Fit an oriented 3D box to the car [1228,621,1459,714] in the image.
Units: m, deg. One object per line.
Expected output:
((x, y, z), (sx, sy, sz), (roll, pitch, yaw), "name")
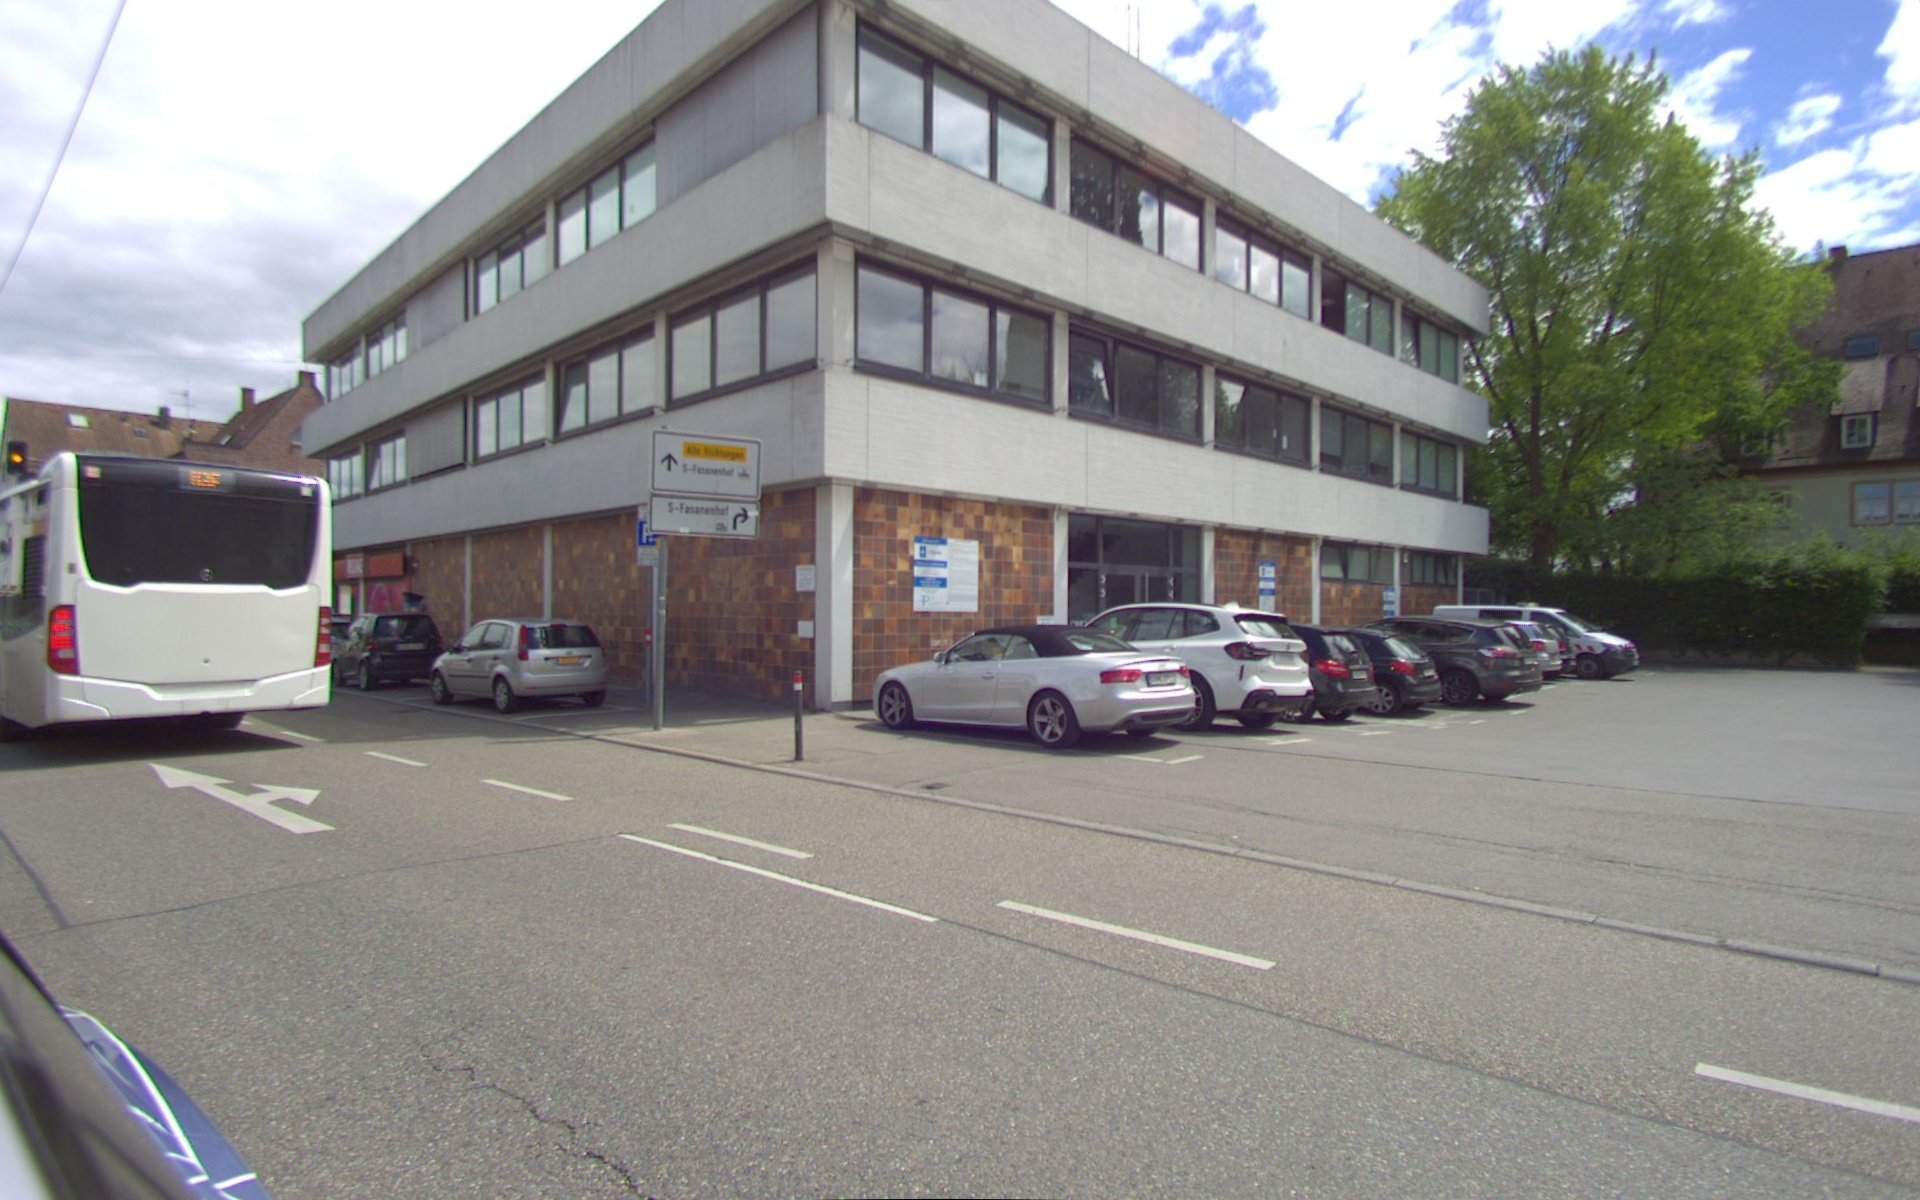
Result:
((7.035, 1.167, 18.751), (3.605, 1.558, 1.743), (-1, -2, 43), "car")

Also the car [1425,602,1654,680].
((15.776, 1.077, 27.790), (1.945, 1.956, 5.093), (1, -2, -43), "car")

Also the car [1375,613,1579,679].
((12.412, 1.062, 24.458), (1.824, 1.472, 4.003), (1, -2, -44), "car")

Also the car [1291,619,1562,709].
((9.112, 1.188, 20.041), (4.498, 1.590, 1.900), (-2, -2, 44), "car")

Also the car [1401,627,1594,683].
((13.739, 1.348, 26.004), (1.824, 1.304, 4.003), (1, -2, -44), "car")

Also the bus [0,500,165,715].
((-17.768, 0.187, 18.751), (10.174, 3.188, 2.655), (-1, -2, 40), "bus")

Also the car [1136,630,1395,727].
((4.823, 1.168, 16.243), (3.605, 1.341, 1.743), (-1, -2, 43), "car")

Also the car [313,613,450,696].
((-12.155, 1.080, 21.222), (3.057, 1.567, 1.717), (-1, -1, 44), "car")

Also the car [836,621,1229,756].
((0.708, 0.946, 12.679), (4.858, 1.368, 1.929), (-1, -2, 45), "car")

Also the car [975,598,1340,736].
((2.622, 0.898, 14.451), (1.927, 1.632, 4.934), (4, -4, -42), "car")

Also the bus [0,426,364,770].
((-10.755, 0.049, 12.970), (8.059, 3.188, 2.689), (-1, -2, 39), "bus")

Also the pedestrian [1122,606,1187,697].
((3.709, 0.972, 19.320), (0.709, 1.684, 0.996), (3, -3, -43), "pedestrian")

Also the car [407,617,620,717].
((-7.533, 1.035, 16.878), (4.147, 1.433, 1.704), (-1, -1, 42), "car")
